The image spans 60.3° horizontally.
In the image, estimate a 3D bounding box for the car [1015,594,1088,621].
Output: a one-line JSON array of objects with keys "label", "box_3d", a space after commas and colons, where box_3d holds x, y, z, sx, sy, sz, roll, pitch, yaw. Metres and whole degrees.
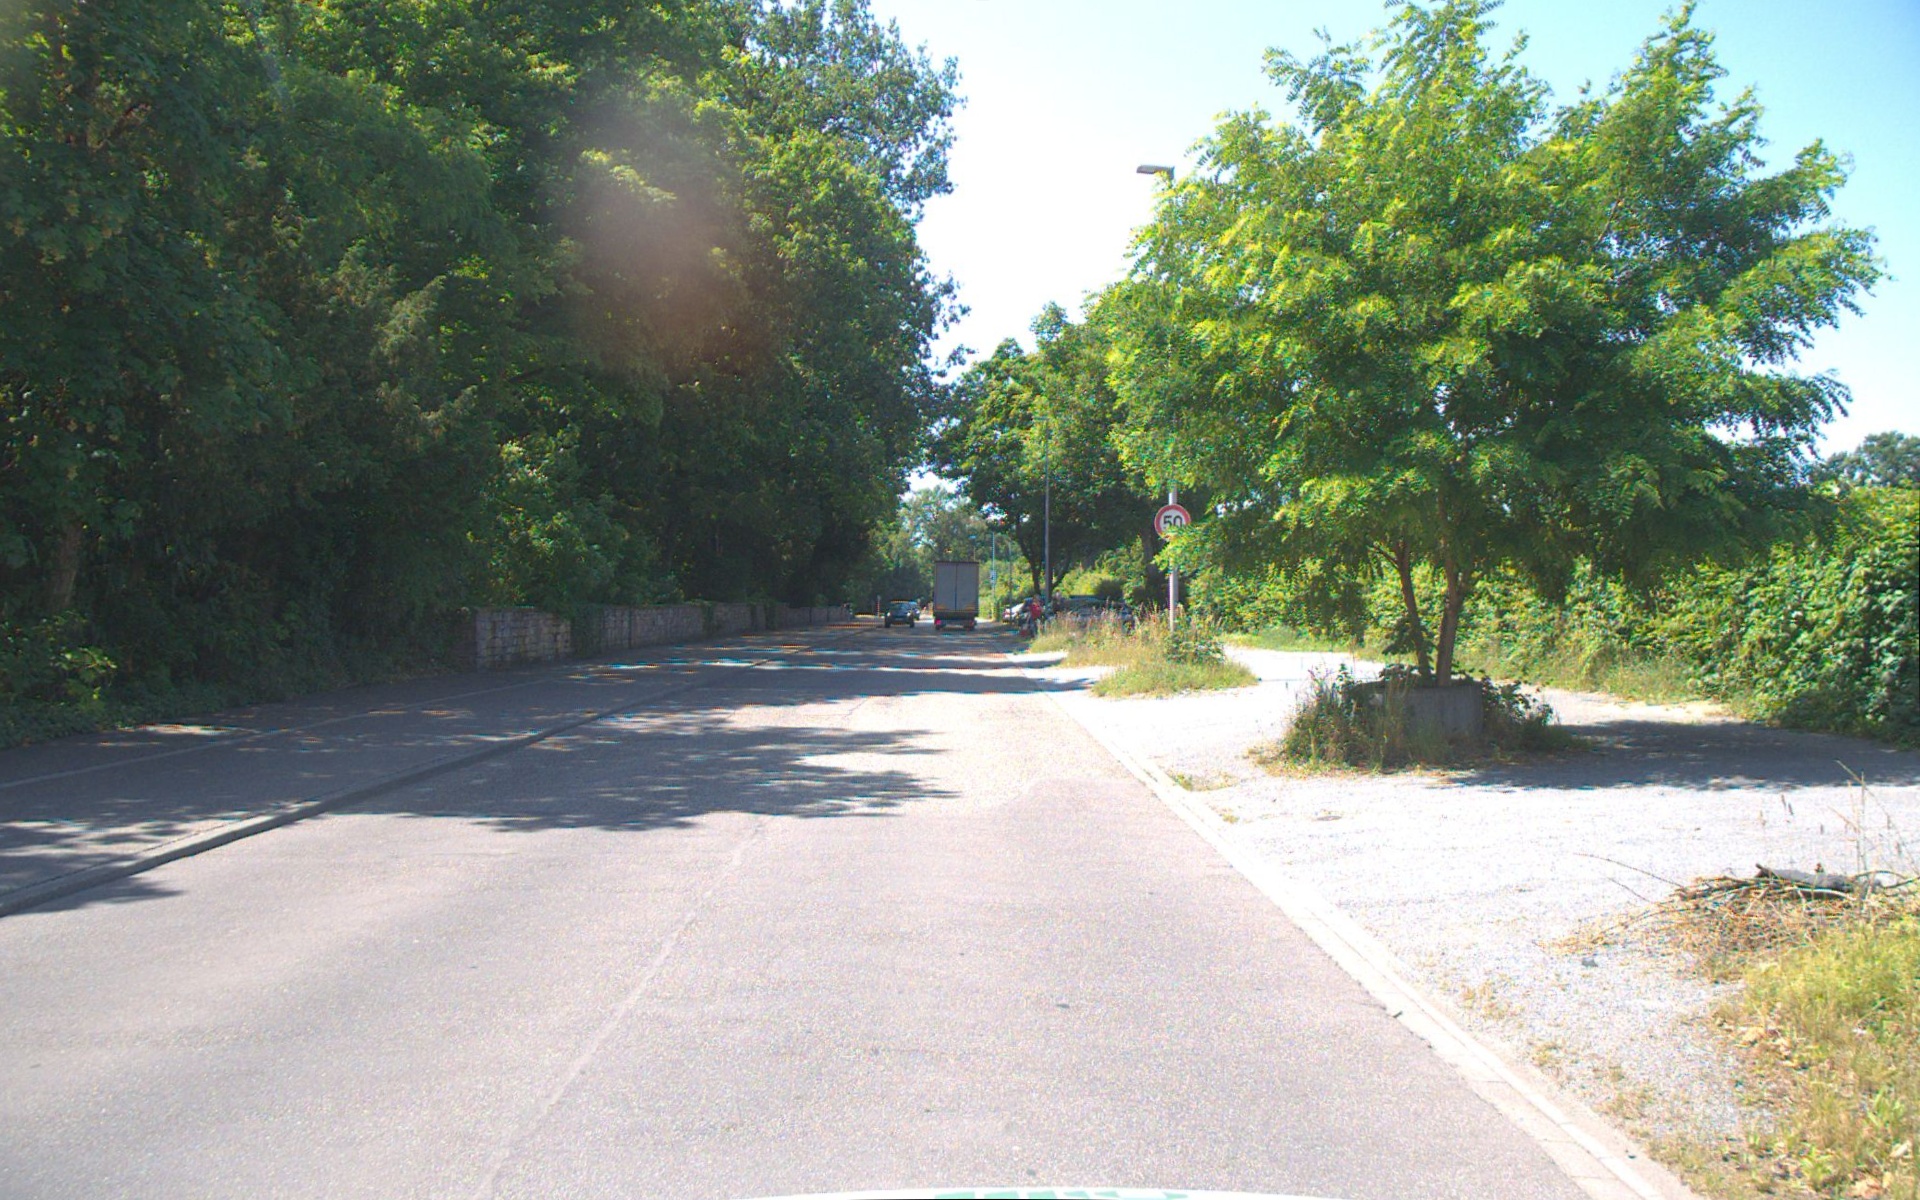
[{"label": "car", "box_3d": [5.219, 0.422, 94.661, 4.110, 1.470, 1.739, -2, 0, 0]}]

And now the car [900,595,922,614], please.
[{"label": "car", "box_3d": [-4.648, 0.388, 158.373, 1.953, 1.713, 4.262, -1, 0, 0]}]

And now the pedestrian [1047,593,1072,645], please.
[{"label": "pedestrian", "box_3d": [3.430, 0.645, 56.966, 0.724, 1.769, 0.885, -1, 0, -2]}]

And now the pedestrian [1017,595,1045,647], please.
[{"label": "pedestrian", "box_3d": [2.378, 0.695, 55.680, 0.846, 1.706, 0.885, -1, 0, -2]}]

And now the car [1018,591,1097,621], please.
[{"label": "car", "box_3d": [5.176, 0.337, 88.261, 4.110, 1.470, 1.739, -2, 0, 0]}]

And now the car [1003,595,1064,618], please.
[{"label": "car", "box_3d": [4.997, 0.429, 112.840, 4.110, 1.470, 1.739, -2, 0, 0]}]

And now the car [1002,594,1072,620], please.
[{"label": "car", "box_3d": [4.582, 0.405, 99.007, 4.110, 1.470, 1.739, -2, 0, 0]}]

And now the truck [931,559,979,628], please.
[{"label": "truck", "box_3d": [-0.292, -0.409, 97.639, 2.677, 3.811, 13.244, 0, 0, 0]}]

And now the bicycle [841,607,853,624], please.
[{"label": "bicycle", "box_3d": [-8.364, 1.164, 122.587, 0.703, 1.179, 2.230, -1, 0, 0]}]

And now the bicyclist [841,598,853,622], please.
[{"label": "bicyclist", "box_3d": [-8.365, 0.771, 122.607, 0.815, 1.746, 0.957, -1, 0, 0]}]

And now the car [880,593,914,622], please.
[{"label": "car", "box_3d": [-3.921, 0.480, 103.472, 1.953, 1.713, 4.262, -1, 0, 0]}]
